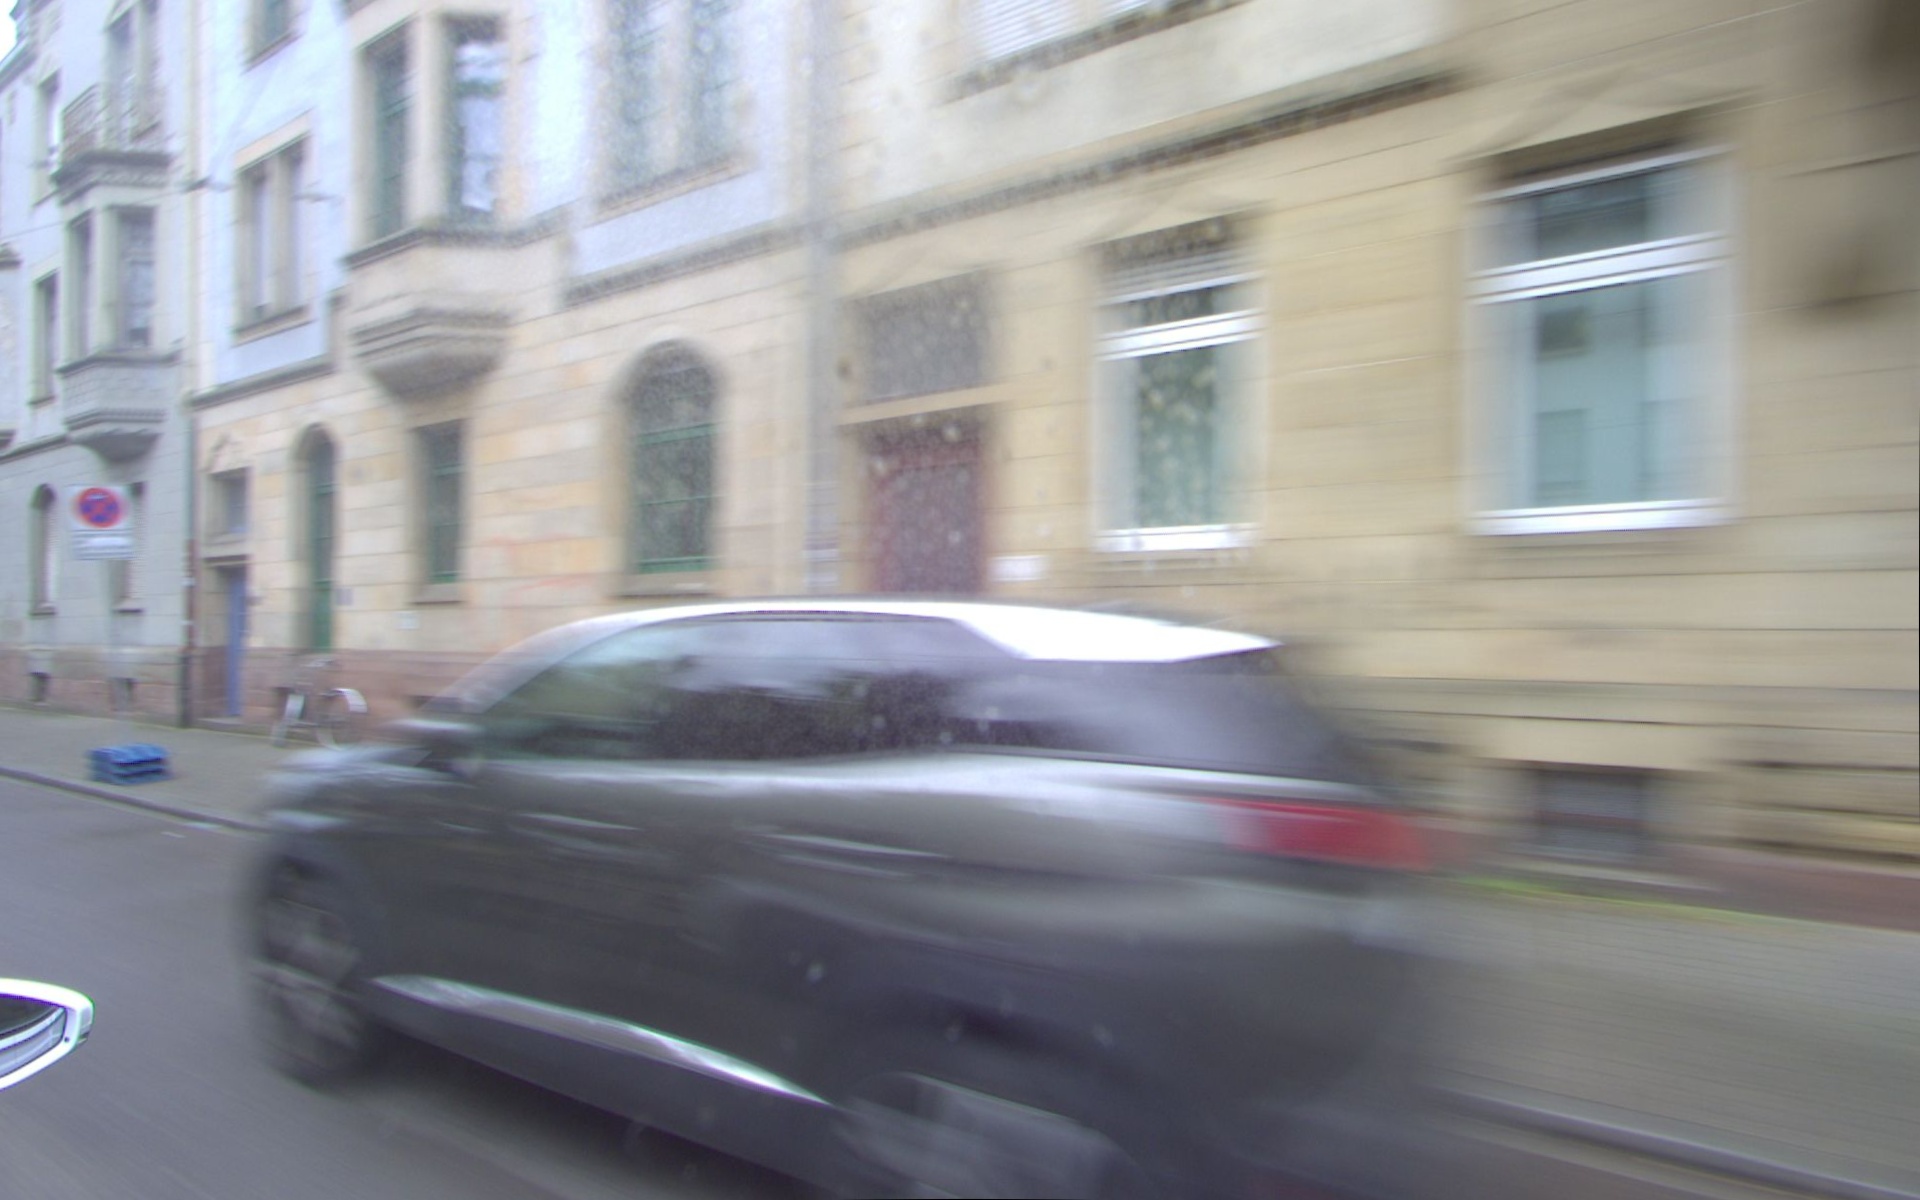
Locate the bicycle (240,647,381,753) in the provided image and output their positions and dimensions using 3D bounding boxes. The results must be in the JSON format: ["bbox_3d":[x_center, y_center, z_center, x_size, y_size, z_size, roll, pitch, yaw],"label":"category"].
[{"bbox_3d":[-7.700,1.156,11.851,1.889,1.140,0.610,-1,-4,32],"label":"bicycle"}]

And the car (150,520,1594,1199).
[{"bbox_3d":[-0.643,0.762,3.362,4.626,1.643,1.757,-1,-2,31],"label":"car"}]
